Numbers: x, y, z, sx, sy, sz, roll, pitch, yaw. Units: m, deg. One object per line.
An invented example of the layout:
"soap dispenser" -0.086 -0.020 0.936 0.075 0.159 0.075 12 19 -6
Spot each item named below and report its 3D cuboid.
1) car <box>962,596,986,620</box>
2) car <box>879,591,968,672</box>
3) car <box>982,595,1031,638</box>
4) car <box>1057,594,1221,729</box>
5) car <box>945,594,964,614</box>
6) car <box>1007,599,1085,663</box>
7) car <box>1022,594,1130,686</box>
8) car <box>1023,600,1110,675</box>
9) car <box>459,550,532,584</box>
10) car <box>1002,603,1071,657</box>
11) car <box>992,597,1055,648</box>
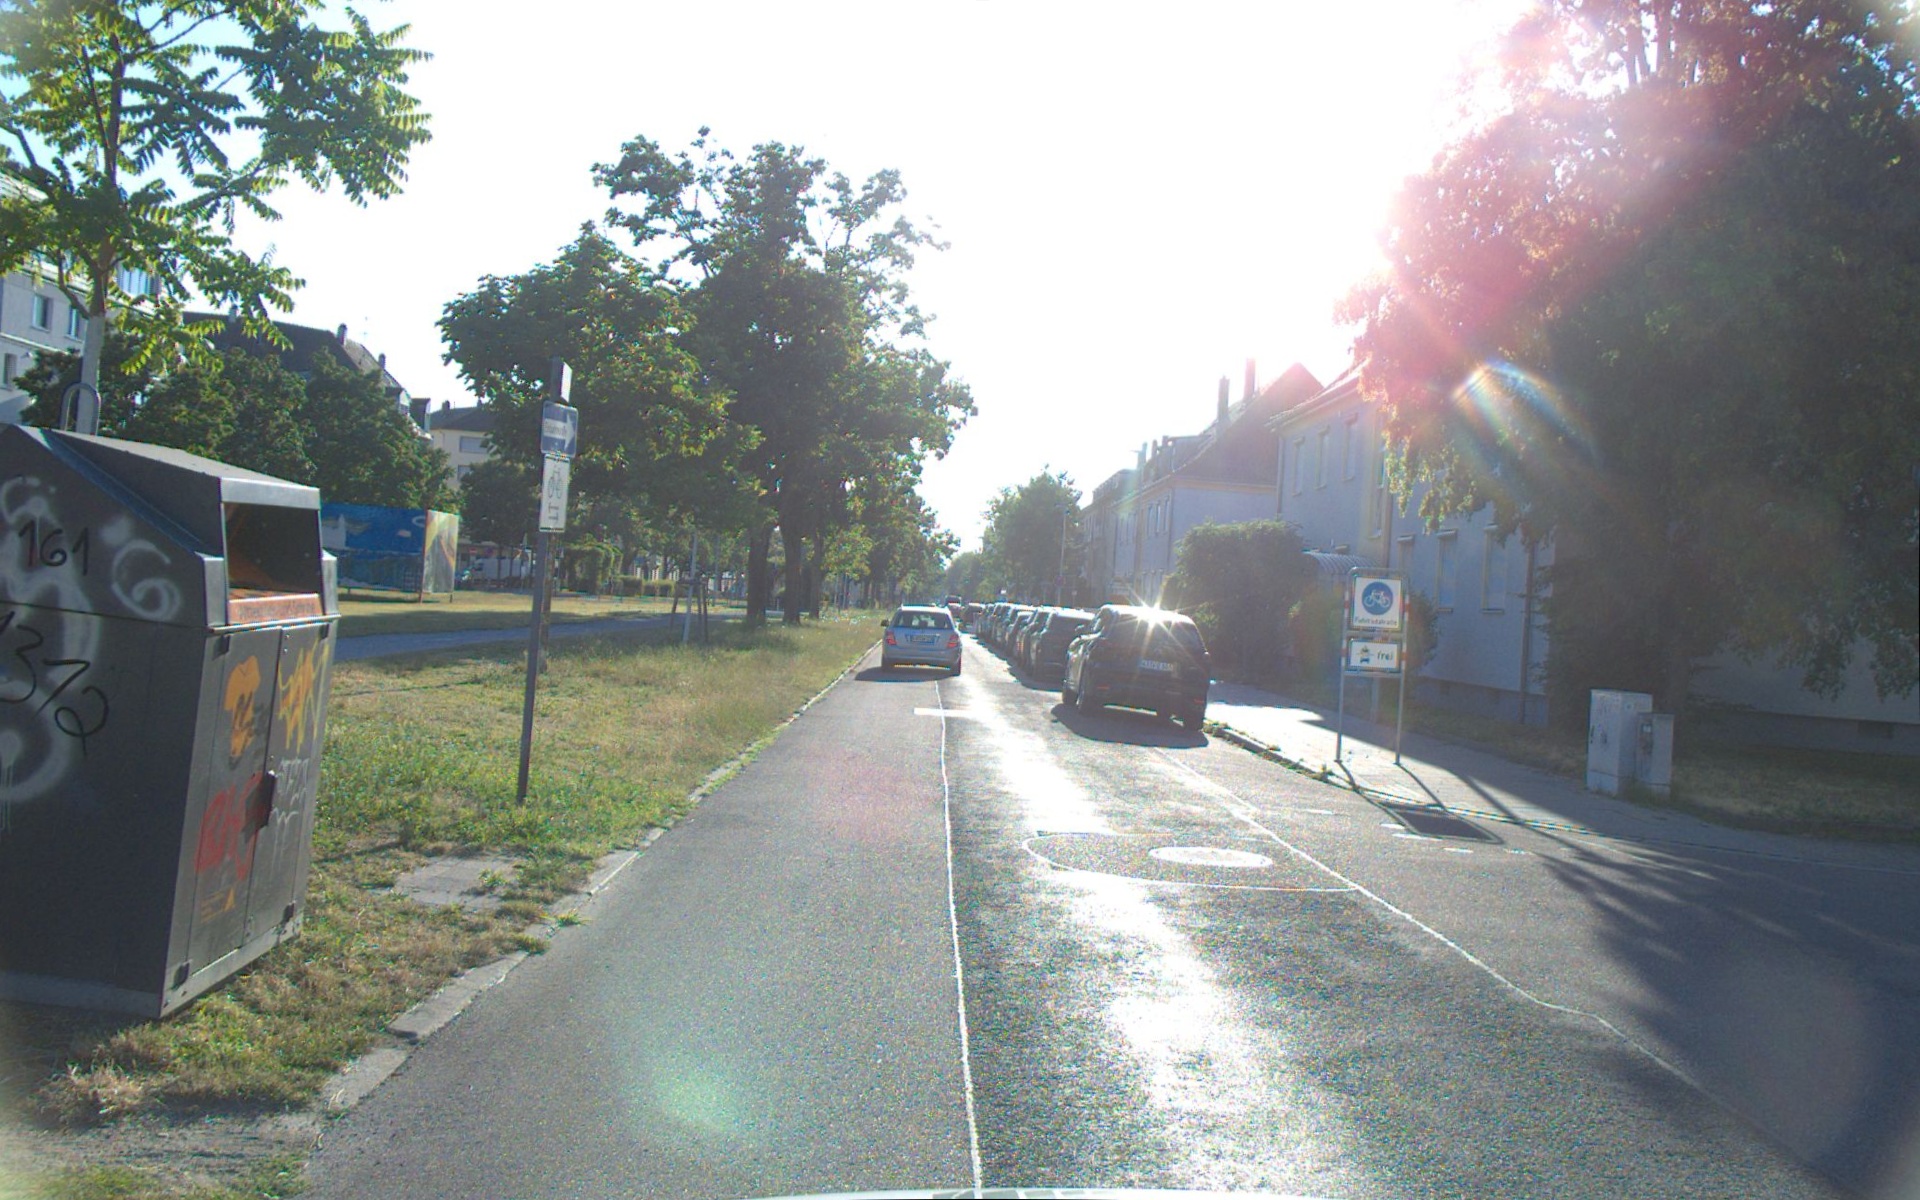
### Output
"car" 1.039 0.606 124.306 1.686 1.625 3.999 3 -1 -1
"car" -0.779 0.647 36.686 1.786 1.593 4.000 2 0 -1
"car" 1.955 0.689 70.284 1.741 1.671 4.755 3 0 -1
"car" 2.725 0.910 26.366 1.796 1.761 5.030 6 -1 -1
"car" -0.649 0.476 182.541 1.948 2.058 3.999 4 0 -1
"car" 2.501 0.888 48.926 1.695 1.574 4.205 8 -1 -3
"car" 2.581 0.861 37.960 1.895 1.749 4.620 6 0 -1
"car" 2.746 0.924 43.488 1.817 1.685 4.819 5 0 -1
"car" -43.445 -3.052 154.751 6.232 2.767 1.982 4 0 -32
"car" 2.445 0.946 53.752 1.953 1.487 4.561 5 0 0
"car" 2.236 0.766 59.045 1.691 1.588 4.413 4 0 -4
